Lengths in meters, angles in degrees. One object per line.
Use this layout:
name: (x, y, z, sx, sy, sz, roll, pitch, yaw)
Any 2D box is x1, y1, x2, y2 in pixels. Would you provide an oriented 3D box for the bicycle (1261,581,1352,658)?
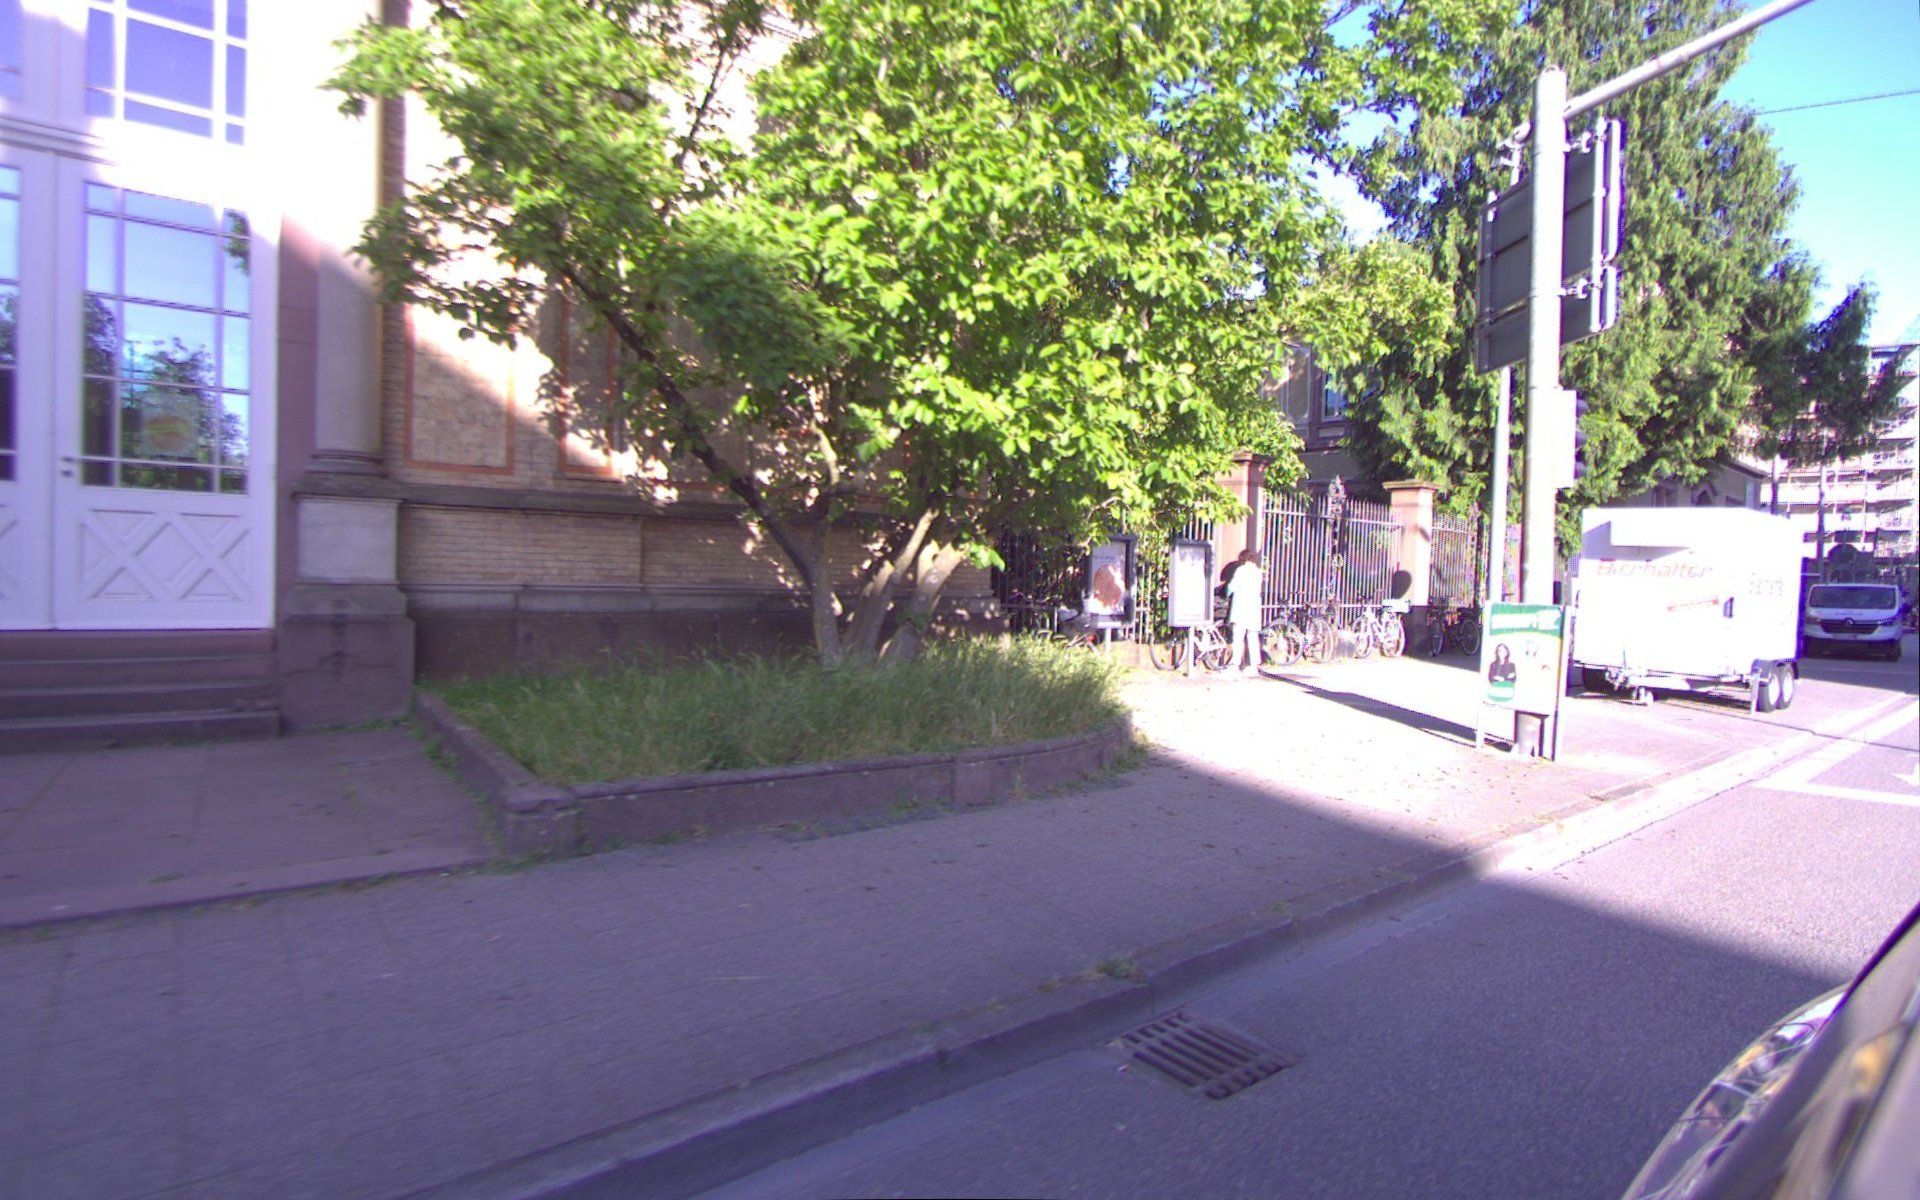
bicycle: (5.392, 0.294, 15.701, 1.649, 1.119, 0.400, 1, 3, -36)

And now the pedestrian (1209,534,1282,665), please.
pedestrian: (4.014, -0.016, 14.234, 0.724, 1.790, 0.641, 1, 1, -37)

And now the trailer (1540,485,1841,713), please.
trailer: (9.861, -0.070, 13.557, 4.411, 2.559, 2.085, 0, 3, -39)

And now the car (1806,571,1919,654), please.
car: (23.908, 0.251, 26.697, 2.015, 1.970, 5.394, 1, 1, 44)

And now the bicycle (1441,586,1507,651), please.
bicycle: (9.666, 0.333, 18.998, 1.894, 1.144, 0.396, 0, 2, -41)

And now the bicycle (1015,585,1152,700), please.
bicycle: (1.254, 0.407, 10.534, 0.470, 1.051, 1.470, 1, 2, -39)

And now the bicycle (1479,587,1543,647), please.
bicycle: (11.448, 0.342, 20.999, 1.793, 1.170, 0.420, 0, 4, -38)

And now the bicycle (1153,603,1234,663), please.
bicycle: (3.276, 0.444, 14.133, 1.425, 0.803, 0.264, 0, 2, -40)

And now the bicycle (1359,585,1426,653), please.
bicycle: (7.490, 0.320, 17.493, 1.503, 1.119, 0.275, 1, 3, -36)
